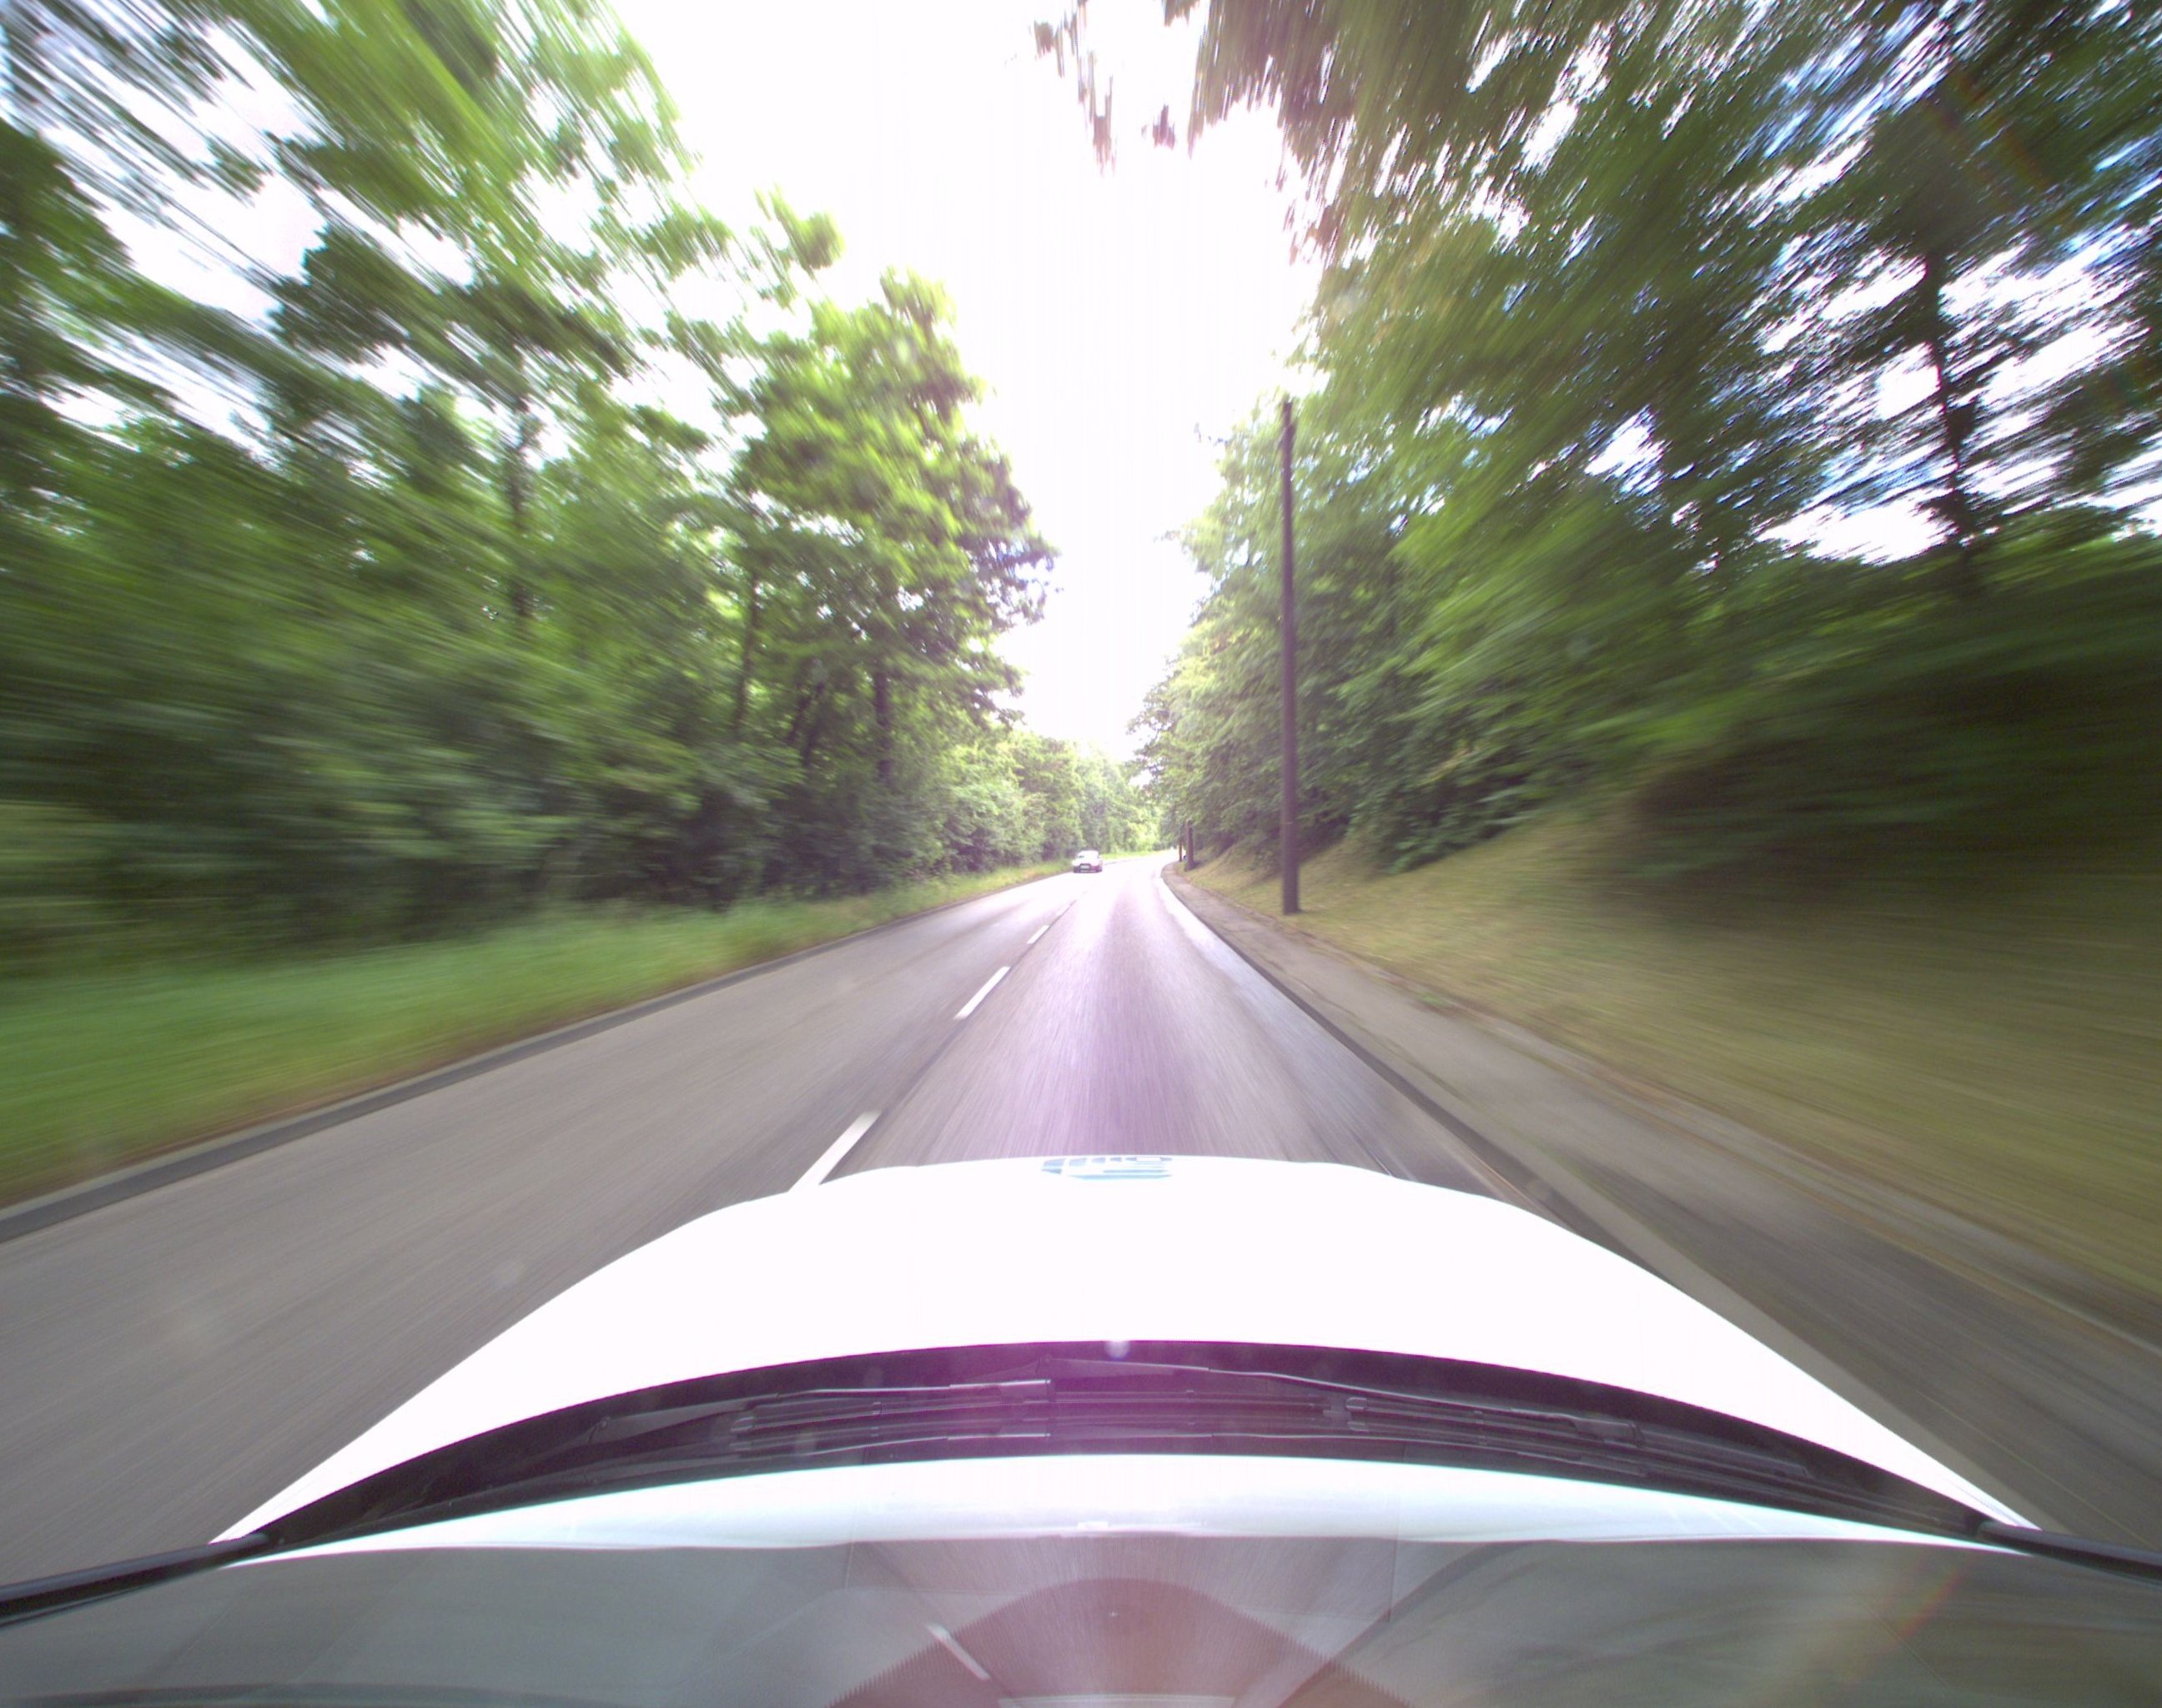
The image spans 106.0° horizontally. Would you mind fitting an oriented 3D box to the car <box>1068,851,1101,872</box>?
[{"bbox_3d":[0.206,0.547,57.746,1.990,1.437,3.993,0,-1,-5],"label":"car"}]
